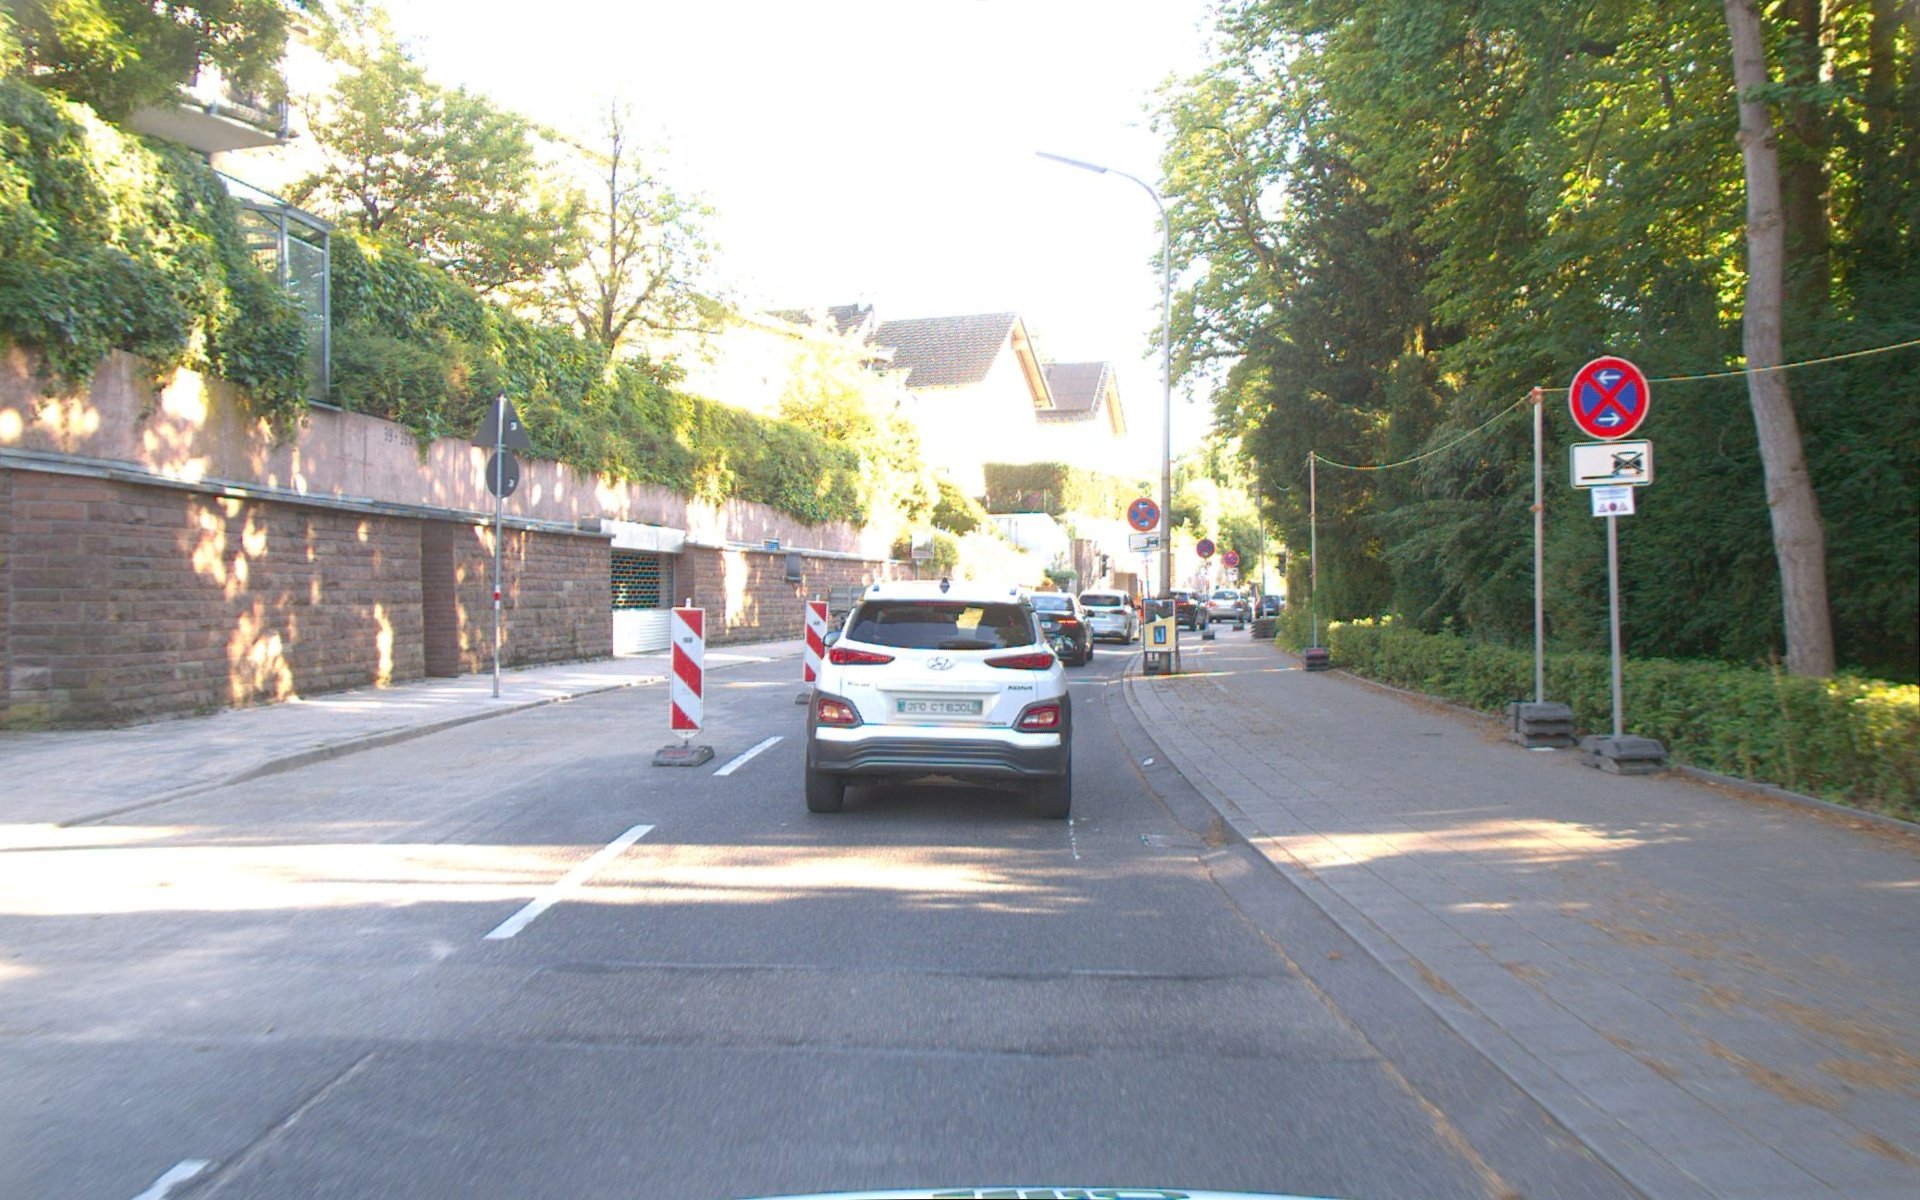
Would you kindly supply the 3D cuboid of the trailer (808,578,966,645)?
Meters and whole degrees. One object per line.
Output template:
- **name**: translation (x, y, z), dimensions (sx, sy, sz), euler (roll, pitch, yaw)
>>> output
- **trailer**: translation (-1.680, 0.232, 41.464), dimensions (2.583, 1.515, 7.125), euler (1, 0, 9)

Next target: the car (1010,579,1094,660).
- **car**: translation (1.932, 0.361, 34.048), dimensions (1.480, 1.560, 3.550), euler (-1, 1, 7)

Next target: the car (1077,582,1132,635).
- **car**: translation (4.319, 0.211, 49.081), dimensions (1.537, 1.503, 3.550), euler (0, 1, 6)

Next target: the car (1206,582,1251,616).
- **car**: translation (13.038, -0.063, 80.052), dimensions (1.658, 1.472, 3.885), euler (-3, 0, 16)

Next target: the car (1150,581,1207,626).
- **car**: translation (8.637, 0.127, 65.099), dimensions (1.658, 1.559, 3.885), euler (-4, 0, 15)

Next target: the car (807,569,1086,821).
- **car**: translation (-0.126, 0.580, 12.432), dimensions (1.736, 1.569, 3.999), euler (1, 1, -1)

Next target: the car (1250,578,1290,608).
- **car**: translation (17.658, -0.416, 93.998), dimensions (1.658, 1.530, 3.633), euler (-3, 0, 19)
